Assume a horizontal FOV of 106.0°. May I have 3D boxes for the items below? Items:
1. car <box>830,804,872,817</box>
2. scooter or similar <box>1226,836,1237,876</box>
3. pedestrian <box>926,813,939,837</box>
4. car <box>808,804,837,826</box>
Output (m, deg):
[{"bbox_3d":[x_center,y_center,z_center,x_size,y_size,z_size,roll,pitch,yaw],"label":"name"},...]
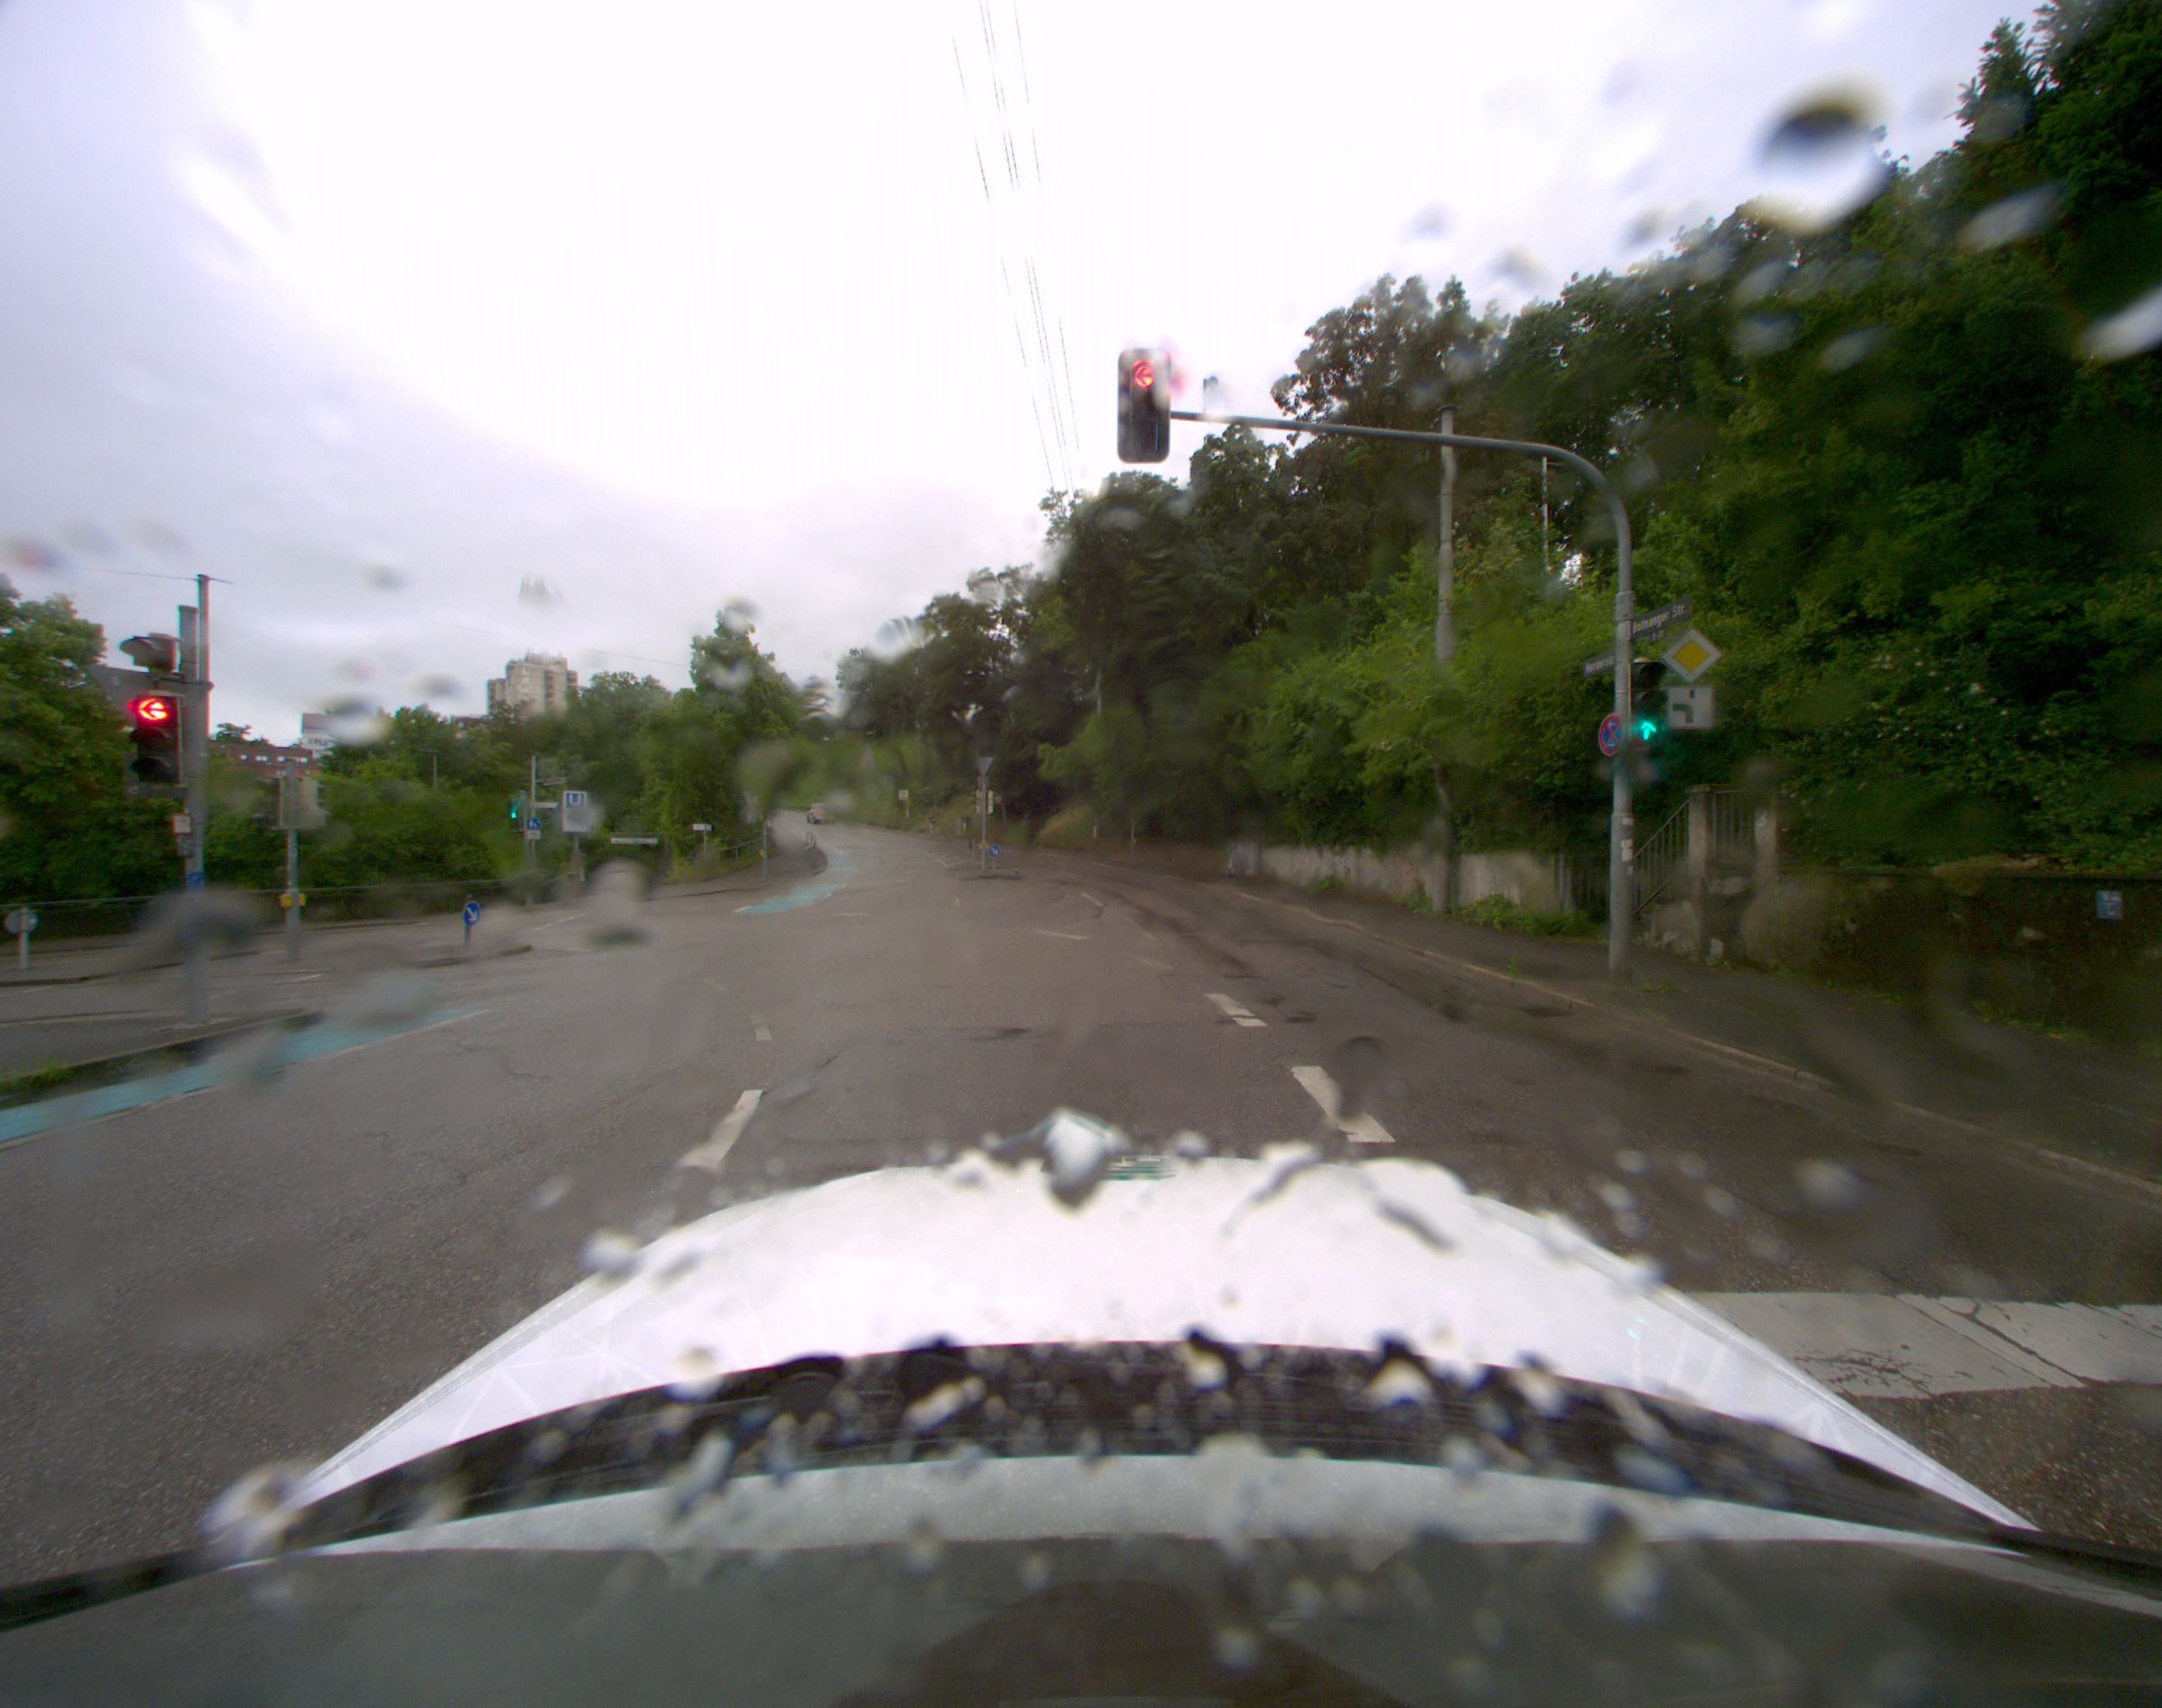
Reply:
[{"bbox_3d":[-26.705,-5.051,94.562,4.357,1.511,1.971,1,3,15],"label":"car"},{"bbox_3d":[4.902,0.061,26.524,0.320,1.279,0.754,-1,2,10],"label":"scooter or similar"},{"bbox_3d":[-11.078,-2.169,60.713,0.882,1.736,0.861,0,-1,-15],"label":"pedestrian"},{"bbox_3d":[-25.807,-3.881,81.182,2.077,2.006,4.773,-1,1,-27],"label":"car"}]
